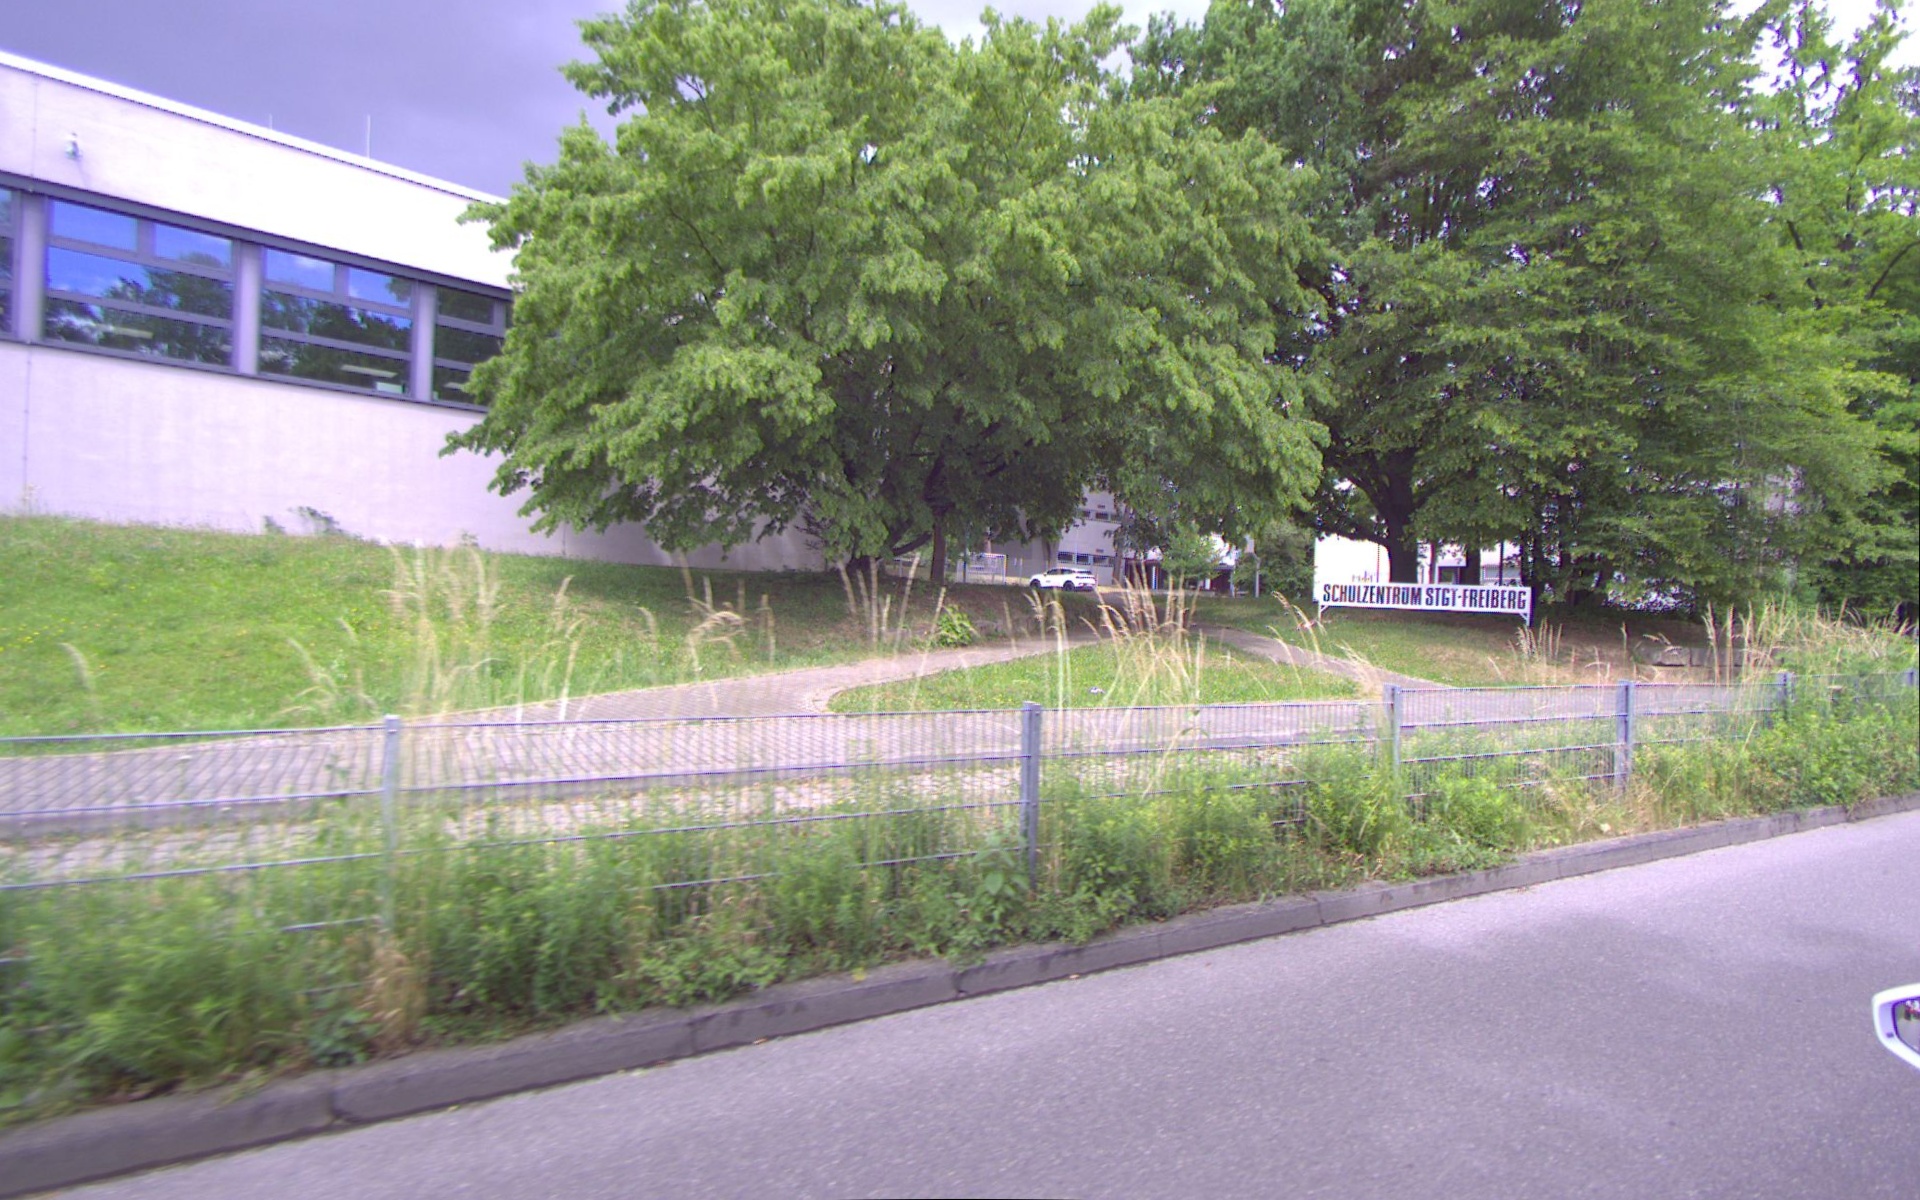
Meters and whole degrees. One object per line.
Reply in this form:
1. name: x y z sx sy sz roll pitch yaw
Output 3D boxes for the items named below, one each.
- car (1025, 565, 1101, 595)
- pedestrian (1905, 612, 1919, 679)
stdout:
1. car: 6.393 -1.256 62.728 4.386 1.717 1.963 1 0 43
2. pedestrian: 24.726 1.171 25.567 0.800 1.684 0.756 2 0 -31
